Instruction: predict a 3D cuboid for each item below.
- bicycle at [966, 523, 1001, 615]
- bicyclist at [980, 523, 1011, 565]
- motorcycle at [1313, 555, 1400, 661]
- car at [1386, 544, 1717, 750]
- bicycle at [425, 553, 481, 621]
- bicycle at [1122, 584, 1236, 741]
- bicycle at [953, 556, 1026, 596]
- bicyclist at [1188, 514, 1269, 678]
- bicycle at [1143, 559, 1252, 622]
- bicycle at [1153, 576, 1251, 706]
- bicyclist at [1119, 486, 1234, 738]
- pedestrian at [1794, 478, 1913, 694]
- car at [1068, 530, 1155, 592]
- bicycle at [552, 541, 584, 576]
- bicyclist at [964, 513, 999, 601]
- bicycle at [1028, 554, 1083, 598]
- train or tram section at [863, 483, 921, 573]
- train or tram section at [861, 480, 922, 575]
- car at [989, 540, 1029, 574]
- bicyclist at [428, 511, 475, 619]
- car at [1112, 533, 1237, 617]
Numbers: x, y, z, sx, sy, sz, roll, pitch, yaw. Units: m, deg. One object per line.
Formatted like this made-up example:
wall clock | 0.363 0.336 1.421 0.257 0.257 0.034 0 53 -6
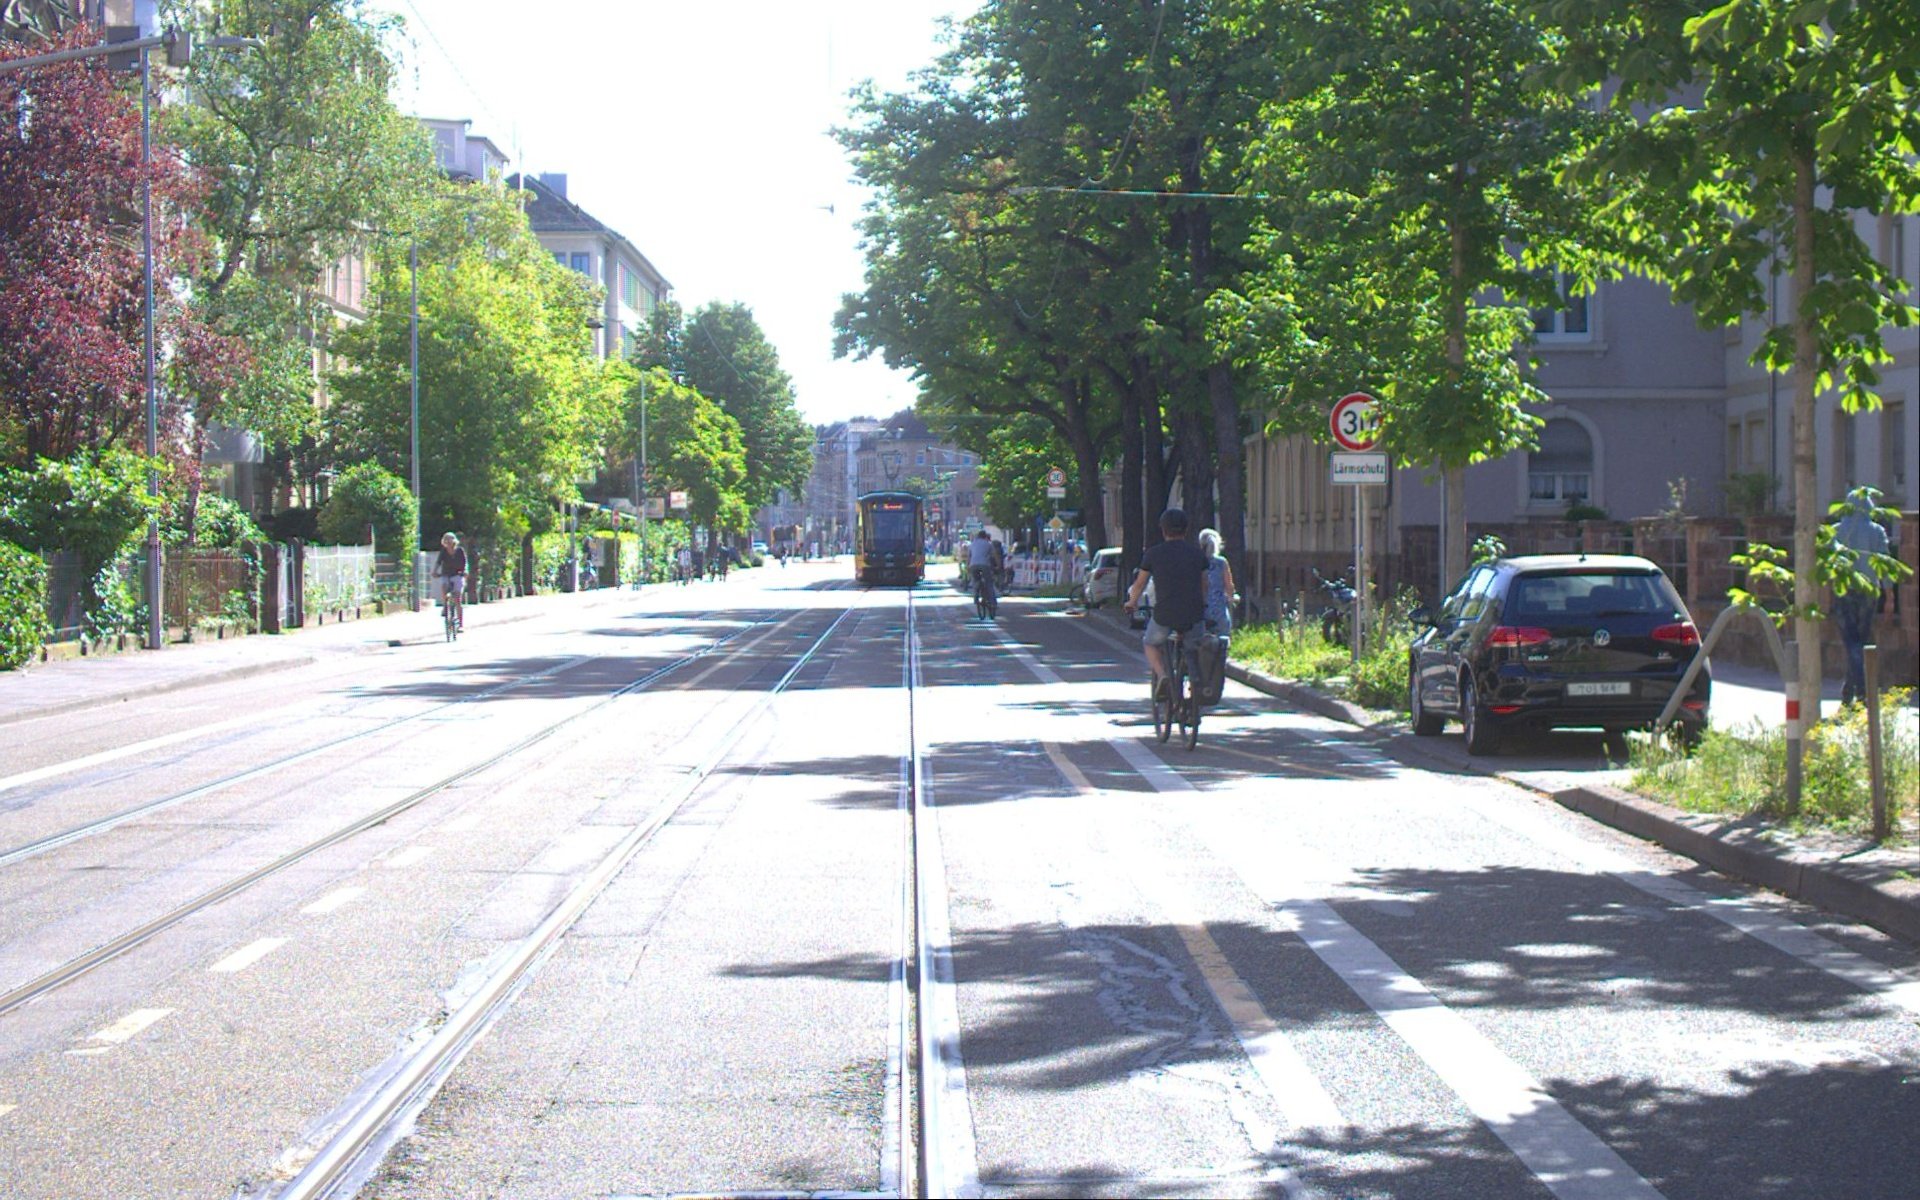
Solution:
bicycle | 0.483 -0.659 71.223 0.663 1.853 2.260 2 1 0
bicyclist | 1.105 -1.762 108.136 0.772 1.287 0.733 2 1 15
motorcycle | 4.688 0.079 40.714 0.495 1.186 1.862 -3 2 -8
car | 4.455 0.299 26.451 1.787 1.459 4.045 0 1 -1
bicycle | -8.523 -0.221 57.875 0.692 1.108 1.719 -1 1 -1
bicycle | 1.639 0.453 25.947 0.692 1.108 1.719 2 1 -1
bicycle | 0.932 -0.762 108.211 2.141 1.167 0.802 2 1 14
bicyclist | 2.446 -0.041 31.390 0.635 1.463 0.616 2 1 -1
bicycle | 4.070 -0.160 59.052 1.792 1.016 0.620 -2 1 -1
bicycle | 2.184 0.354 31.241 0.692 1.108 1.917 2 1 -1
bicyclist | 1.615 0.083 25.763 0.727 1.842 0.837 2 1 -2
pedestrian | 7.281 -0.116 28.003 0.764 1.718 0.579 2 1 29
car | 3.525 -0.928 80.502 1.748 1.415 4.000 -1 1 -1
bicycle | -12.637 -1.344 110.758 0.632 1.065 1.832 2 1 -18
bicyclist | 0.436 -0.888 70.725 0.645 1.789 0.956 2 1 -1
bicycle | 2.381 -0.595 85.587 1.270 1.020 0.704 2 0 7
train or tram section | -2.695 -2.832 136.011 2.153 3.420 6.612 2 1 -1
train or tram section | -2.569 -2.719 129.372 2.153 3.420 6.612 2 1 -1
car | 2.324 -2.055 163.439 1.754 1.546 3.677 1 1 -1
bicyclist | -8.532 -0.586 57.703 0.660 1.795 0.616 -2 0 -1
car | 3.812 -0.478 61.778 1.628 1.431 4.666 0 1 -4
